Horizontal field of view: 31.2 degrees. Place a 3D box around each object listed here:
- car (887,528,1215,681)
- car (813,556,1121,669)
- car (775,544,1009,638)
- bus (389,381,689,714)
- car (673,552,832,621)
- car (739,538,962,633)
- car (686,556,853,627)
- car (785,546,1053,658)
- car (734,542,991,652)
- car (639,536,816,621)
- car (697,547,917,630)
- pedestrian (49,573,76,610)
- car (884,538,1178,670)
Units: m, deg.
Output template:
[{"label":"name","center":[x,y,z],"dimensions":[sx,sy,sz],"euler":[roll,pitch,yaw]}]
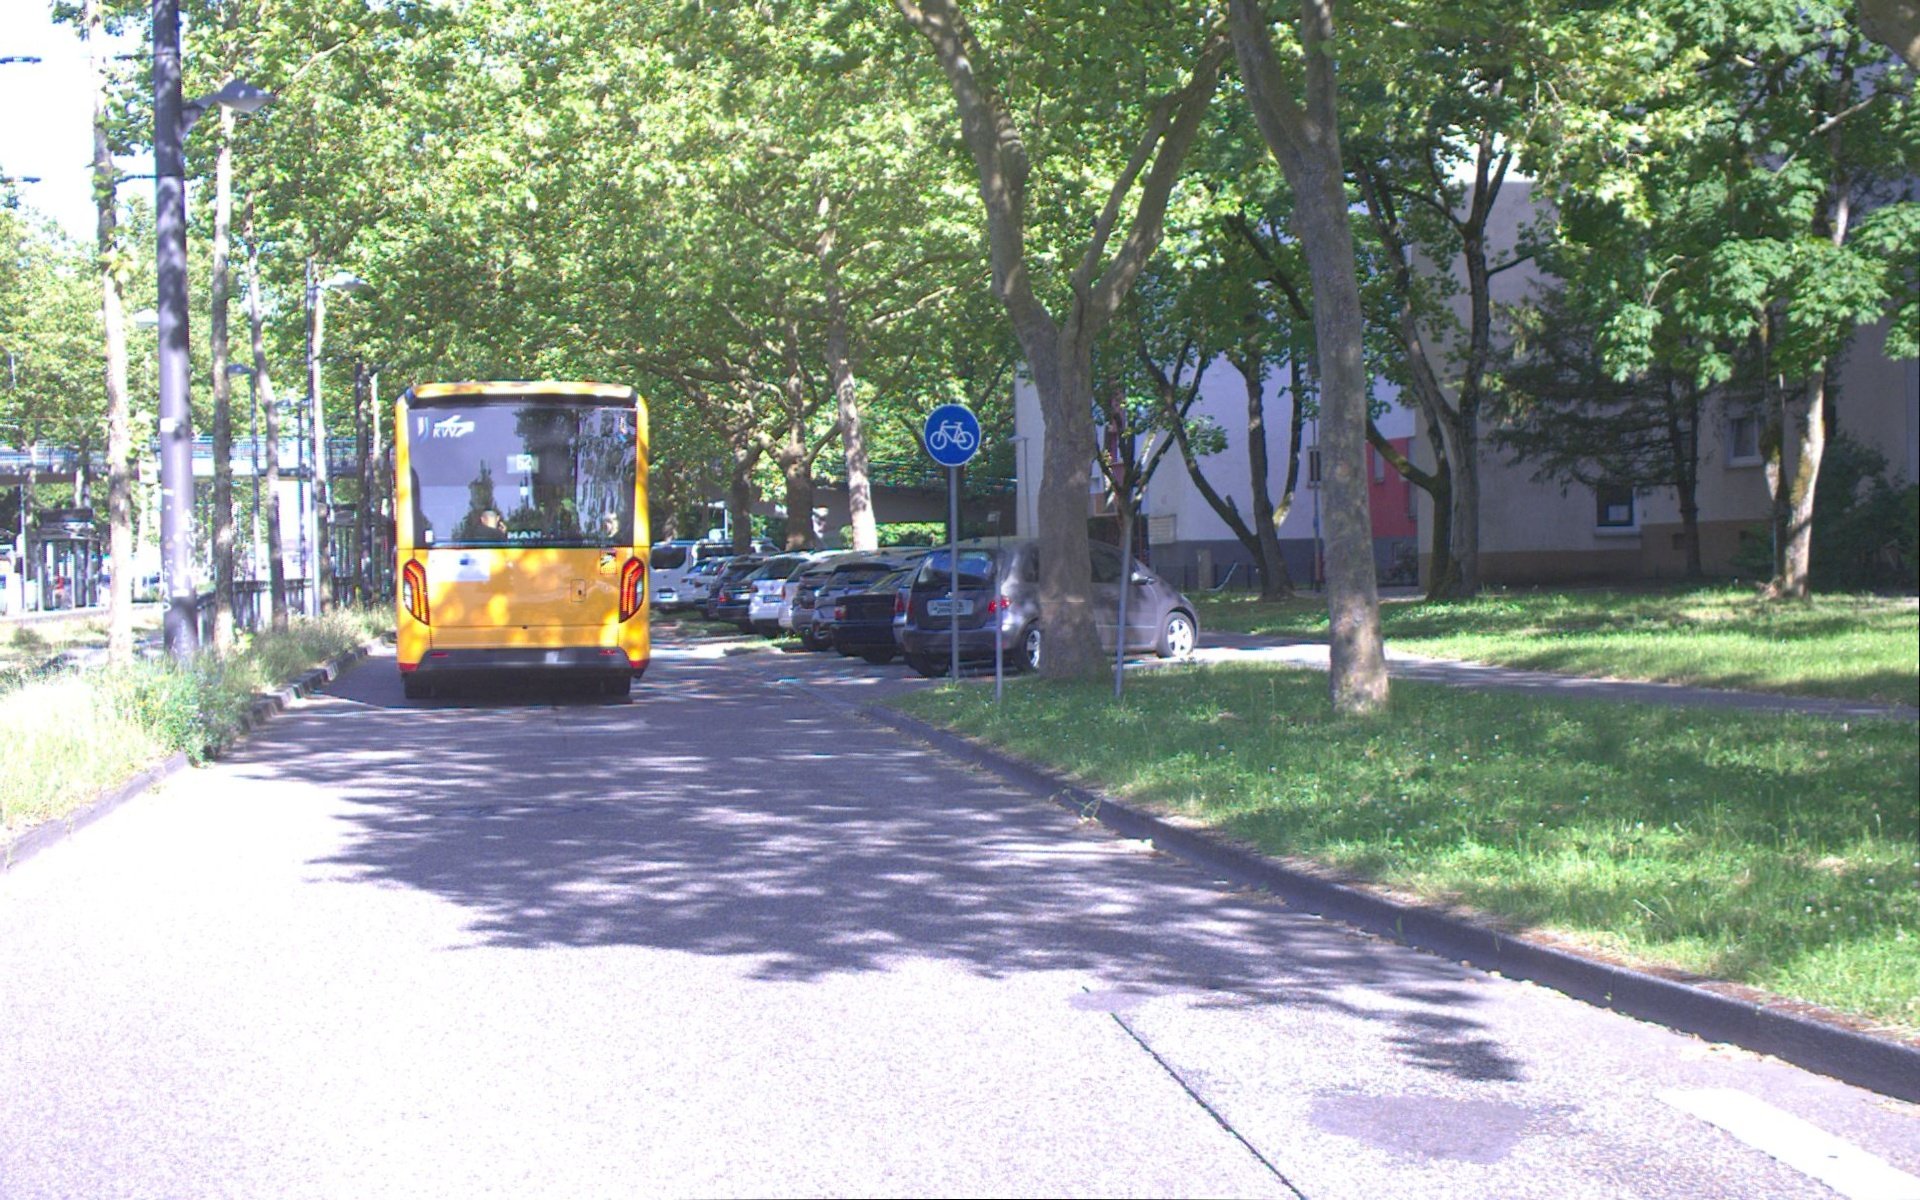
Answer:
[{"label":"car","center":[1.102,0.036,40.166],"dimensions":[1.798,1.587,3.718],"euler":[-1,1,42]},{"label":"car","center":[0.135,0.159,46.381],"dimensions":[1.798,1.313,4.137],"euler":[-1,1,42]},{"label":"car","center":[-1.151,-0.163,59.812],"dimensions":[1.798,1.439,3.991],"euler":[-1,1,42]},{"label":"bus","center":[-5.055,-0.570,40.020],"dimensions":[2.899,3.255,12.220],"euler":[-1,1,-8]},{"label":"car","center":[-5.458,-0.358,90.803],"dimensions":[1.831,1.575,4.049],"euler":[-3,1,40]},{"label":"car","center":[-2.003,-0.278,63.581],"dimensions":[1.798,1.570,3.990],"euler":[-1,1,42]},{"label":"car","center":[-4.653,-0.220,84.587],"dimensions":[1.798,1.505,4.204],"euler":[-3,1,35]},{"label":"car","center":[-0.559,0.010,50.217],"dimensions":[1.798,1.441,3.880],"euler":[-2,1,39]},{"label":"car","center":[-1.485,-0.064,53.684],"dimensions":[1.798,1.505,4.169],"euler":[-2,1,36]},{"label":"car","center":[-6.324,-0.593,93.896],"dimensions":[2.016,2.045,4.579],"euler":[-2,1,43]},{"label":"car","center":[-2.993,-0.245,68.187],"dimensions":[1.798,1.418,4.580],"euler":[-2,1,37]},{"label":"pedestrian","center":[-30.469,-0.298,116.714],"dimensions":[0.777,1.233,0.722],"euler":[-1,0,-9]},{"label":"car","center":[0.933,0.038,43.534],"dimensions":[1.798,1.487,3.576],"euler":[-2,1,41]}]
